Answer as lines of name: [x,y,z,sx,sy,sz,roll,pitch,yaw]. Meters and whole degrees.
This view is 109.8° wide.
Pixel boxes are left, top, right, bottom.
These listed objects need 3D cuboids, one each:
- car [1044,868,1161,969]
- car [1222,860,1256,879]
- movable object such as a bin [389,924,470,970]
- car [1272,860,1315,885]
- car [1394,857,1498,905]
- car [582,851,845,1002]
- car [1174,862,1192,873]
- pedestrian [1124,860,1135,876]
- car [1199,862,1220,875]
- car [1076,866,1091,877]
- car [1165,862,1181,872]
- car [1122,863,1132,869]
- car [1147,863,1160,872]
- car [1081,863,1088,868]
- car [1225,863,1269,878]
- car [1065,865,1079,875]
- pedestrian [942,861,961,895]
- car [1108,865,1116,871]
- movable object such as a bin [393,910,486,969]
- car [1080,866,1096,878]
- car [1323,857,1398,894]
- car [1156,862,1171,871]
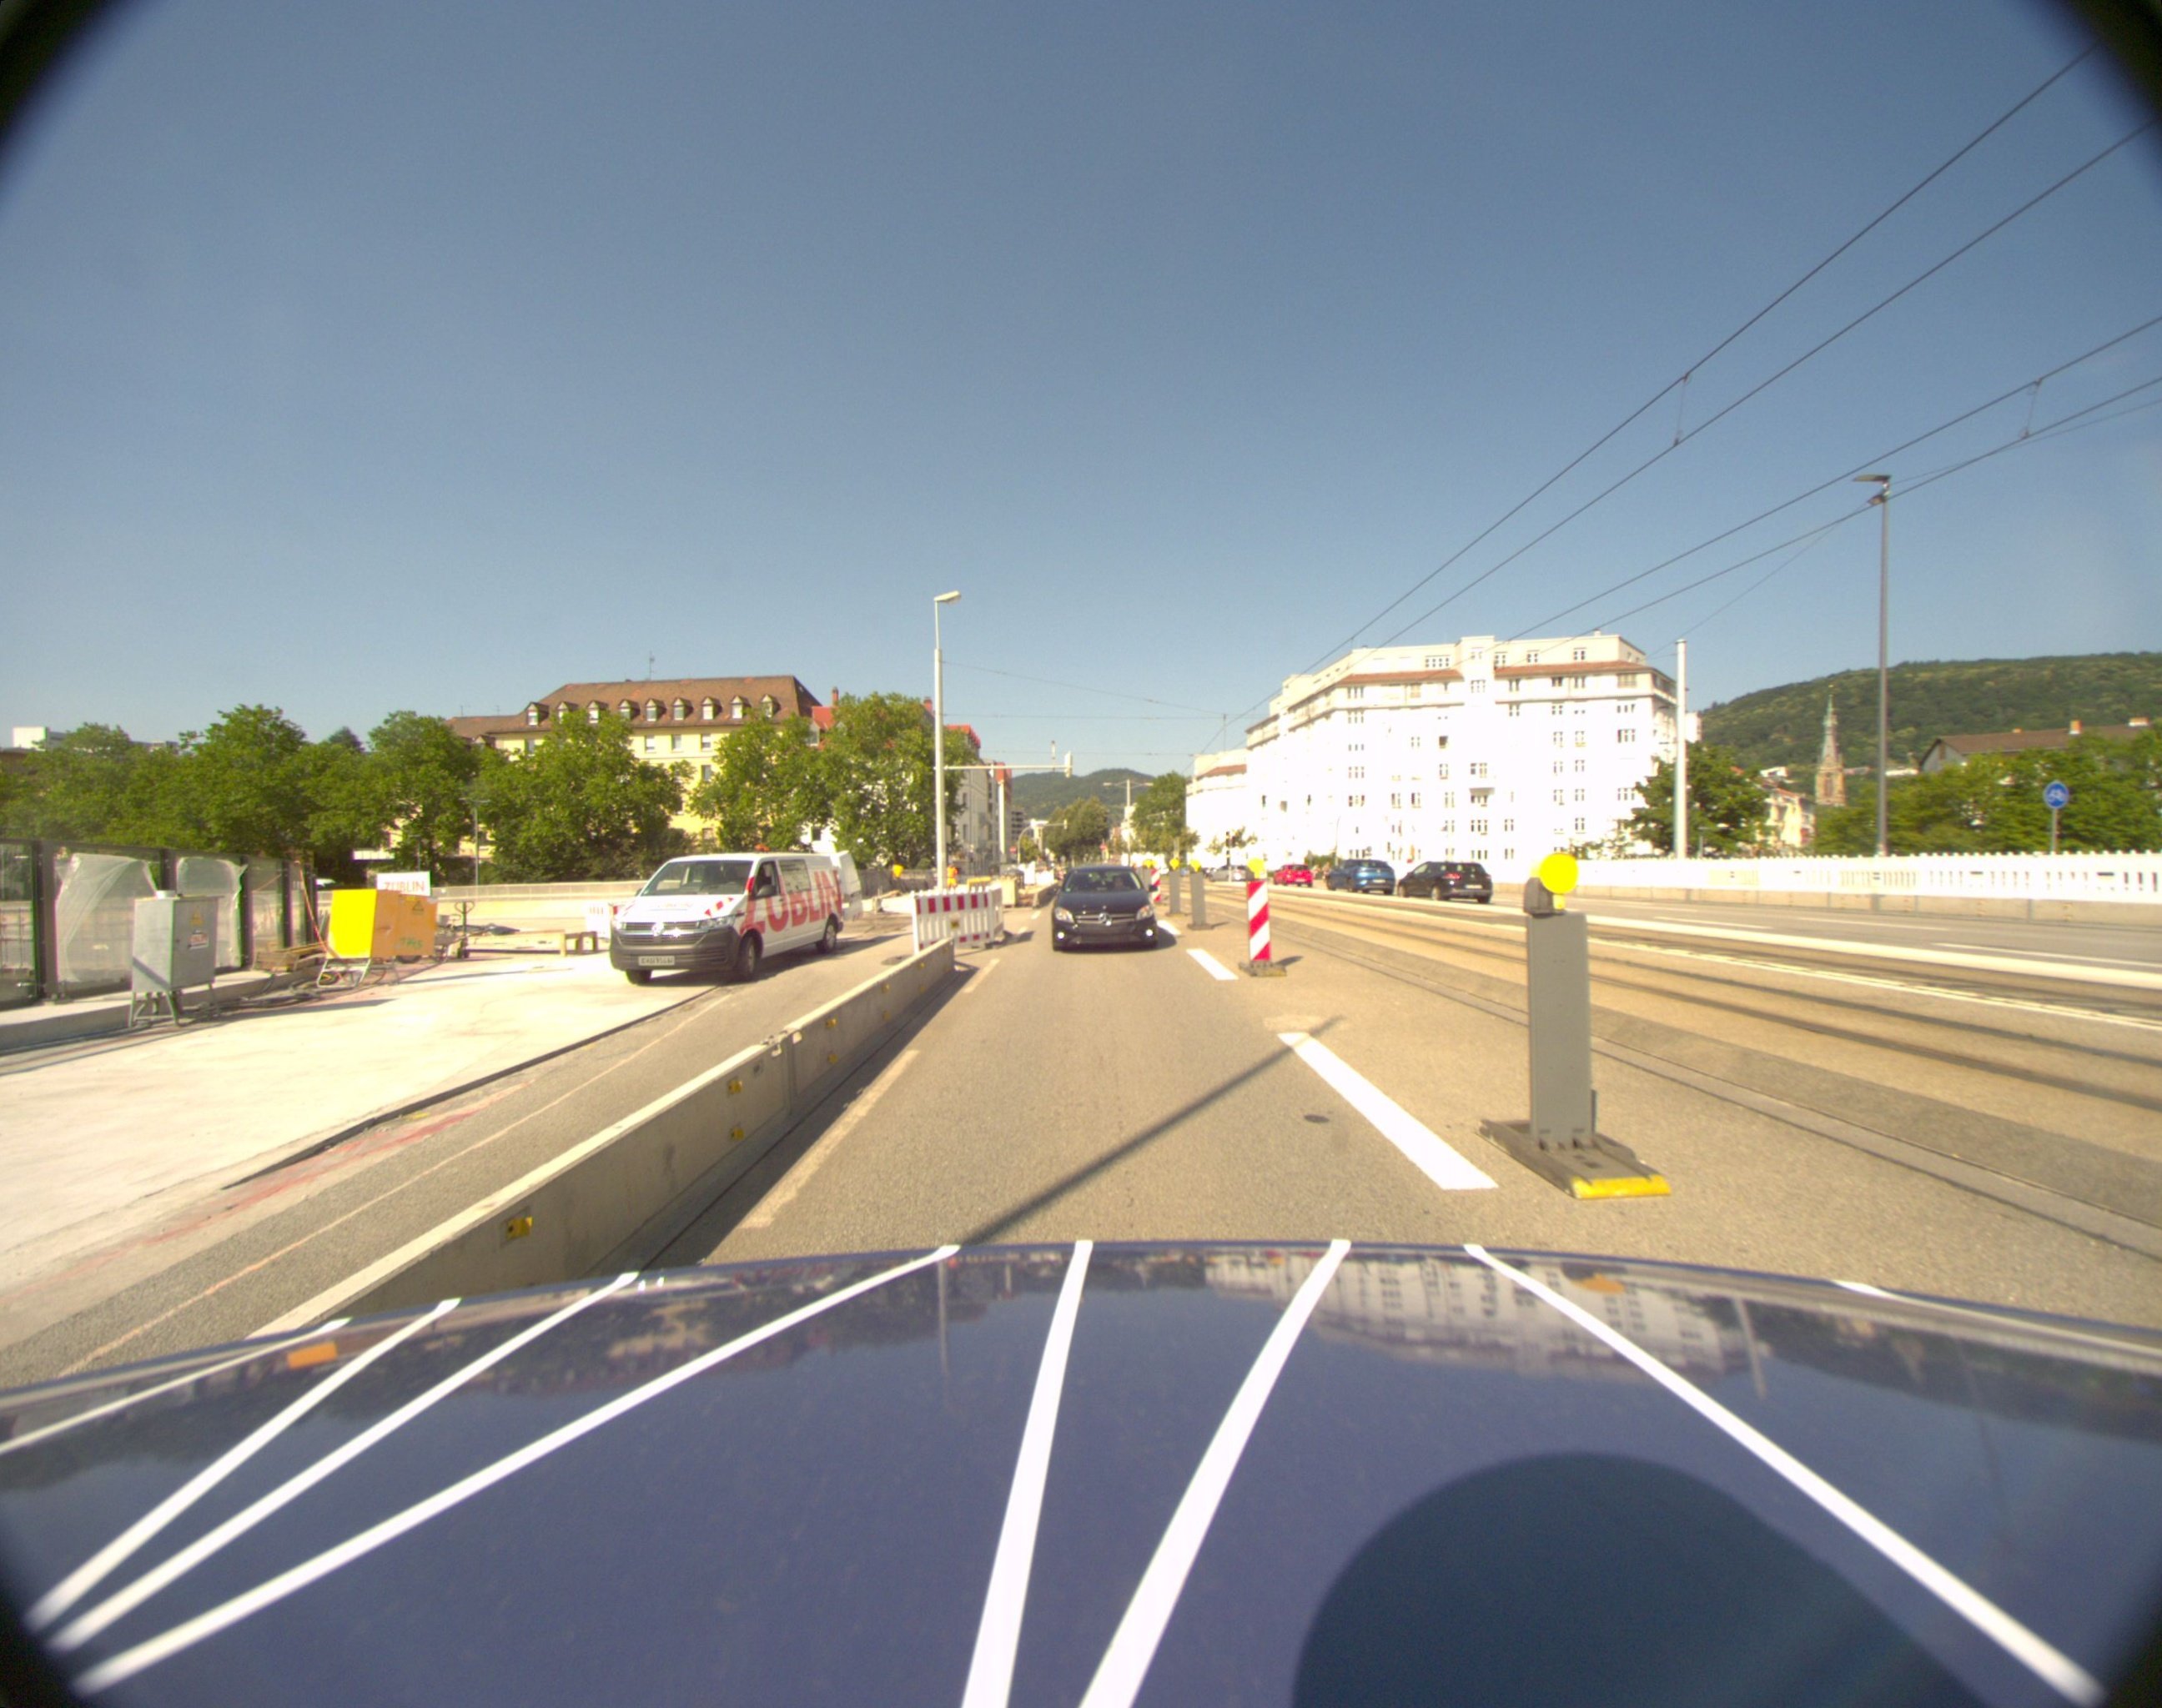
car: [0.428,1.017,13.785,1.702,1.399,4.624,-3,-1,3]
car: [12.139,1.157,58.634,1.642,1.428,4.644,1,0,0]
movable object such as a bin: [-13.155,1.856,15.347,0.754,0.837,1.107,-1,-3,40]
car: [13.072,1.117,46.975,1.537,1.428,3.980,3,0,0]
car: [12.290,0.879,25.905,1.509,1.491,4.177,1,0,0]
car: [-5.826,1.005,12.914,1.883,2.021,4.891,-2,0,2]
car: [15.153,2.009,113.019,1.740,1.475,3.739,-1,-1,-5]
pedestrian: [5.226,1.464,82.210,1.003,1.696,0.822,-1,1,-7]
car: [16.981,1.859,100.382,1.740,1.628,3.738,-1,-1,-7]
car: [0.295,2.135,94.077,1.767,1.346,4.000,-2,-1,-1]
car: [14.709,2.118,121.308,1.740,1.475,3.739,-1,-1,-5]
car: [10.465,2.701,172.969,1.740,1.475,3.739,-1,-1,-5]
car: [13.427,2.495,141.379,1.740,1.475,3.739,-1,-1,-5]
car: [1.046,3.283,221.182,1.798,1.475,3.740,-1,-1,-3]
car: [16.616,1.616,76.373,1.705,1.404,4.475,-1,0,-31]
car: [-1.330,2.417,113.906,1.768,1.346,3.998,-2,-1,-6]
pedestrian: [-6.948,1.268,40.796,0.821,1.784,0.864,1,0,-1]
car: [8.288,3.646,200.868,1.739,1.475,3.740,0,-1,-3]
movable object such as a bin: [-14.059,1.873,16.647,2.038,1.123,0.609,-5,1,23]
car: [0.853,2.026,86.828,1.766,1.313,4.001,-2,-1,1]
car: [12.390,0.932,33.962,1.674,1.541,4.556,0,0,0]
car: [13.899,2.178,128.349,1.740,1.475,3.739,-1,-1,-5]
